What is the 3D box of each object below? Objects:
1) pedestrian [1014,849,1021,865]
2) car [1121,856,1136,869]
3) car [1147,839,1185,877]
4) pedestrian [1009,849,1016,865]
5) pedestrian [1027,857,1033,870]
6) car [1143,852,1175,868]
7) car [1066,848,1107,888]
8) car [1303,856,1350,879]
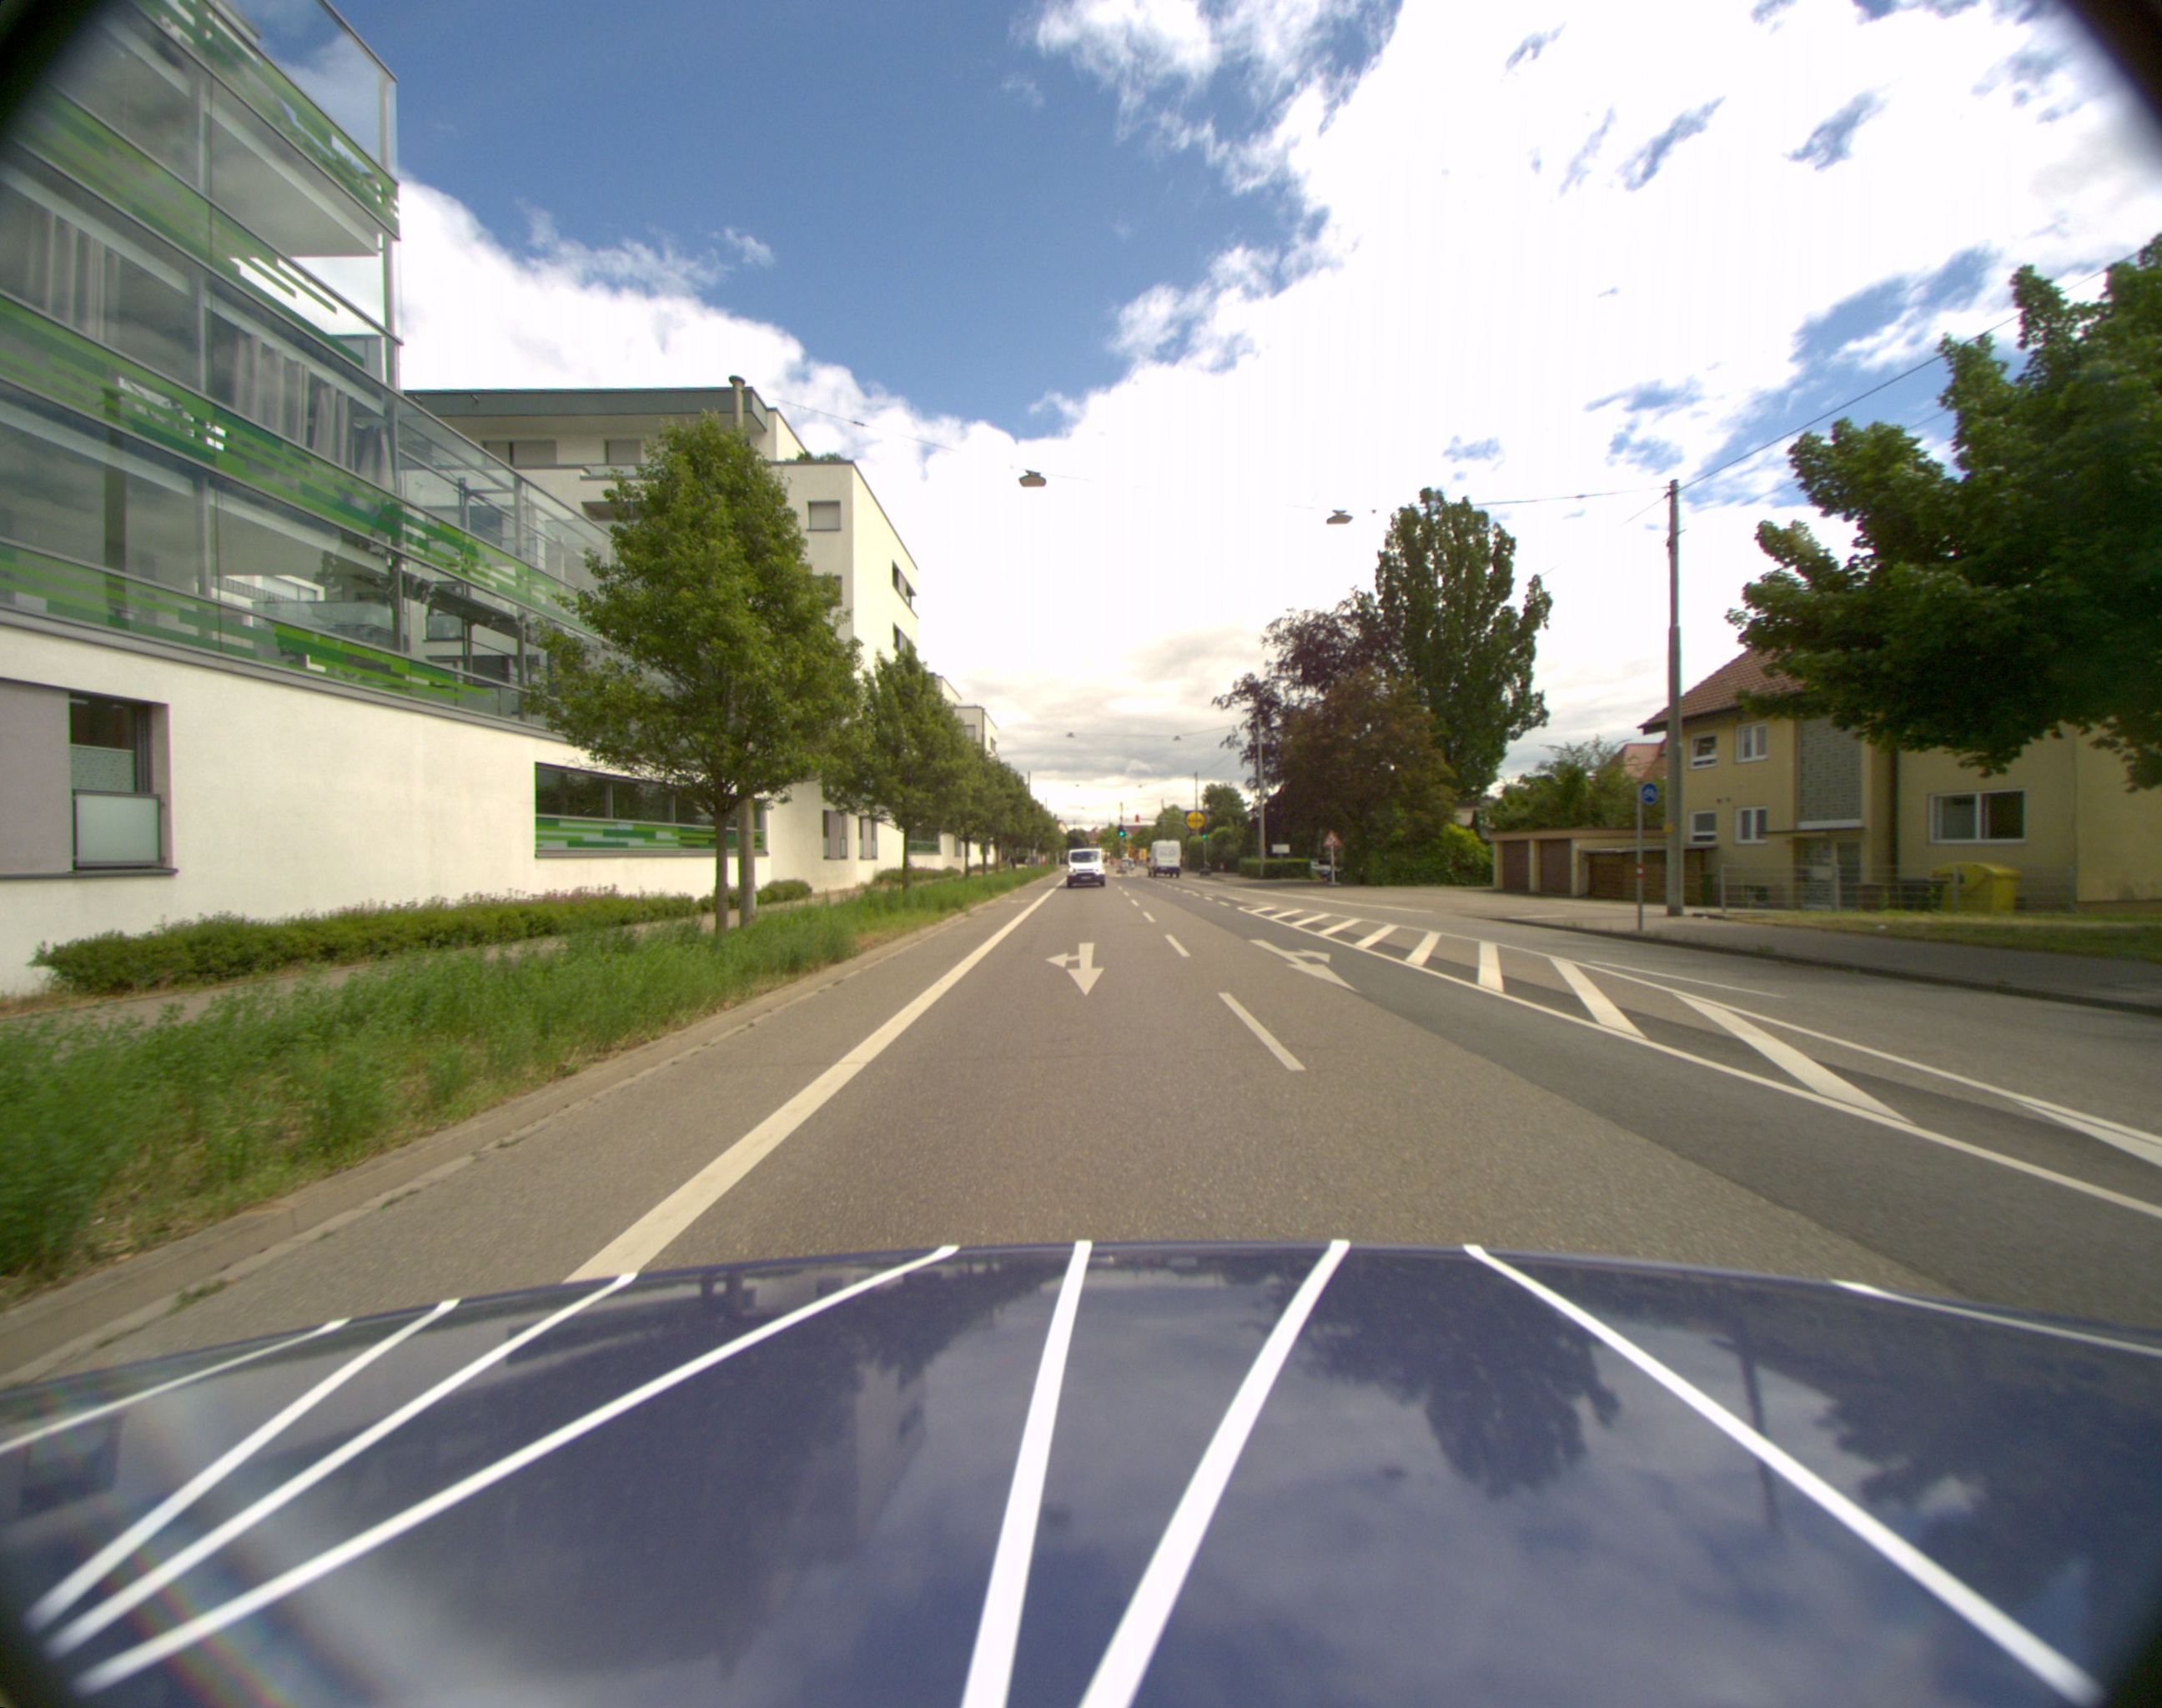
[{"bbox_3d":[-7.415,0.347,88.644,0.742,1.875,0.701,-3,1,-2],"label":"pedestrian"},{"bbox_3d":[5.904,1.004,94.215,1.611,1.510,3.239,1,1,-1],"label":"car"},{"bbox_3d":[6.624,0.302,59.877,2.149,2.803,6.147,1,0,-1],"label":"car"},{"bbox_3d":[-8.036,0.389,88.992,0.621,1.830,0.588,-4,2,-26],"label":"pedestrian"},{"bbox_3d":[-6.618,1.192,98.610,0.559,1.649,0.607,-3,1,0],"label":"pedestrian"},{"bbox_3d":[10.074,0.804,98.208,1.994,1.774,4.007,-2,2,44],"label":"car"},{"bbox_3d":[0.268,0.690,40.289,1.998,1.905,3.999,-2,1,0],"label":"car"},{"bbox_3d":[16.196,0.869,50.267,1.666,1.380,3.521,1,1,-5],"label":"car"}]
